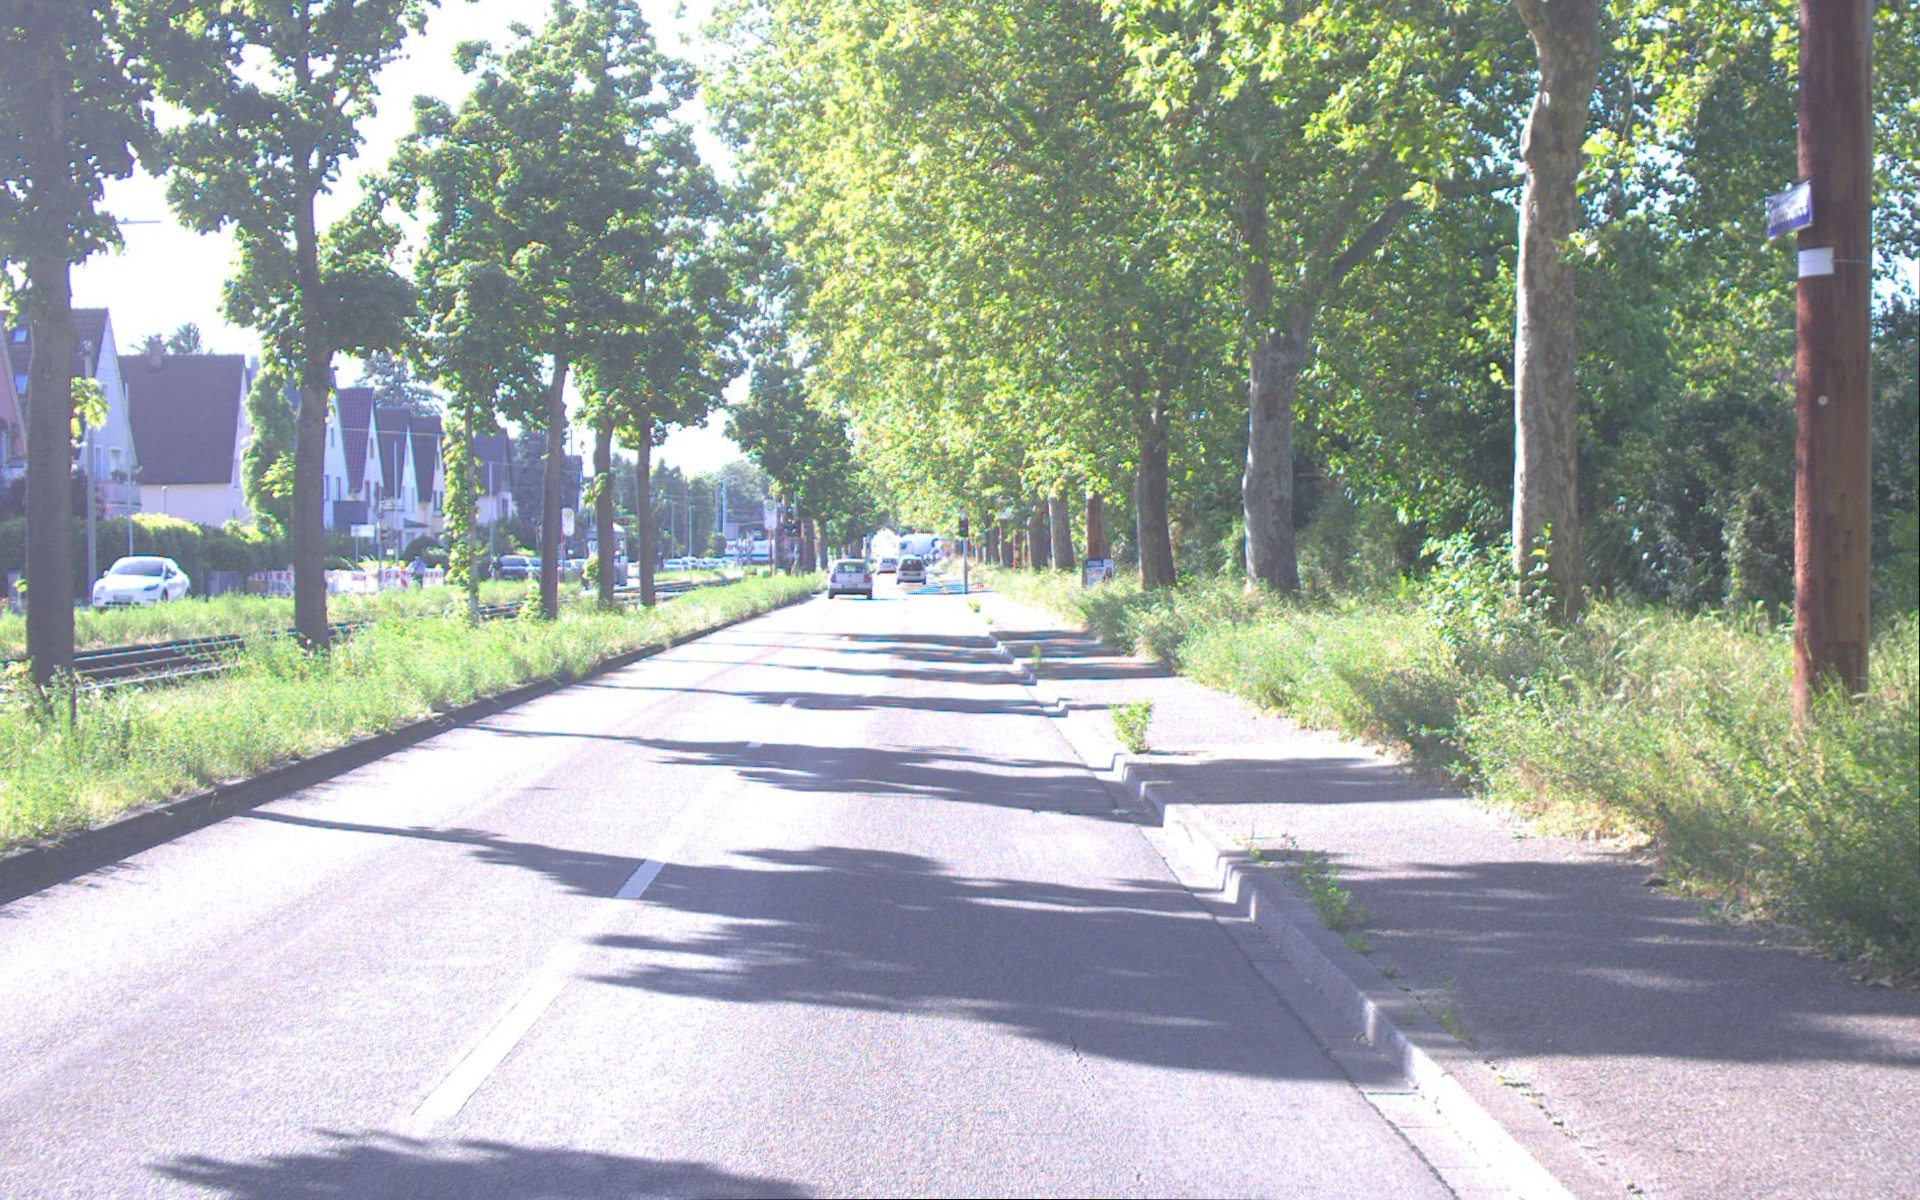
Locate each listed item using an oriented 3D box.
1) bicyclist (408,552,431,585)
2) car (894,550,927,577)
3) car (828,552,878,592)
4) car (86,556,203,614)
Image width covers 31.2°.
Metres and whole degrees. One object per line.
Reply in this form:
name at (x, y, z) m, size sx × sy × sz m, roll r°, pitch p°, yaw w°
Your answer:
bicyclist at (-21.072, -1.219, 134.015) m, size 0.798 × 1.273 × 0.737 m, roll 1°, pitch 0°, yaw -5°
car at (-2.775, -2.046, 192.492) m, size 1.761 × 1.508 × 3.277 m, roll 1°, pitch 0°, yaw 0°
car at (-3.886, -1.020, 125.523) m, size 1.738 × 1.396 × 3.277 m, roll 1°, pitch 0°, yaw -1°
car at (-23.161, -0.438, 97.783) m, size 1.994 × 1.593 × 4.731 m, roll 1°, pitch 0°, yaw 3°
